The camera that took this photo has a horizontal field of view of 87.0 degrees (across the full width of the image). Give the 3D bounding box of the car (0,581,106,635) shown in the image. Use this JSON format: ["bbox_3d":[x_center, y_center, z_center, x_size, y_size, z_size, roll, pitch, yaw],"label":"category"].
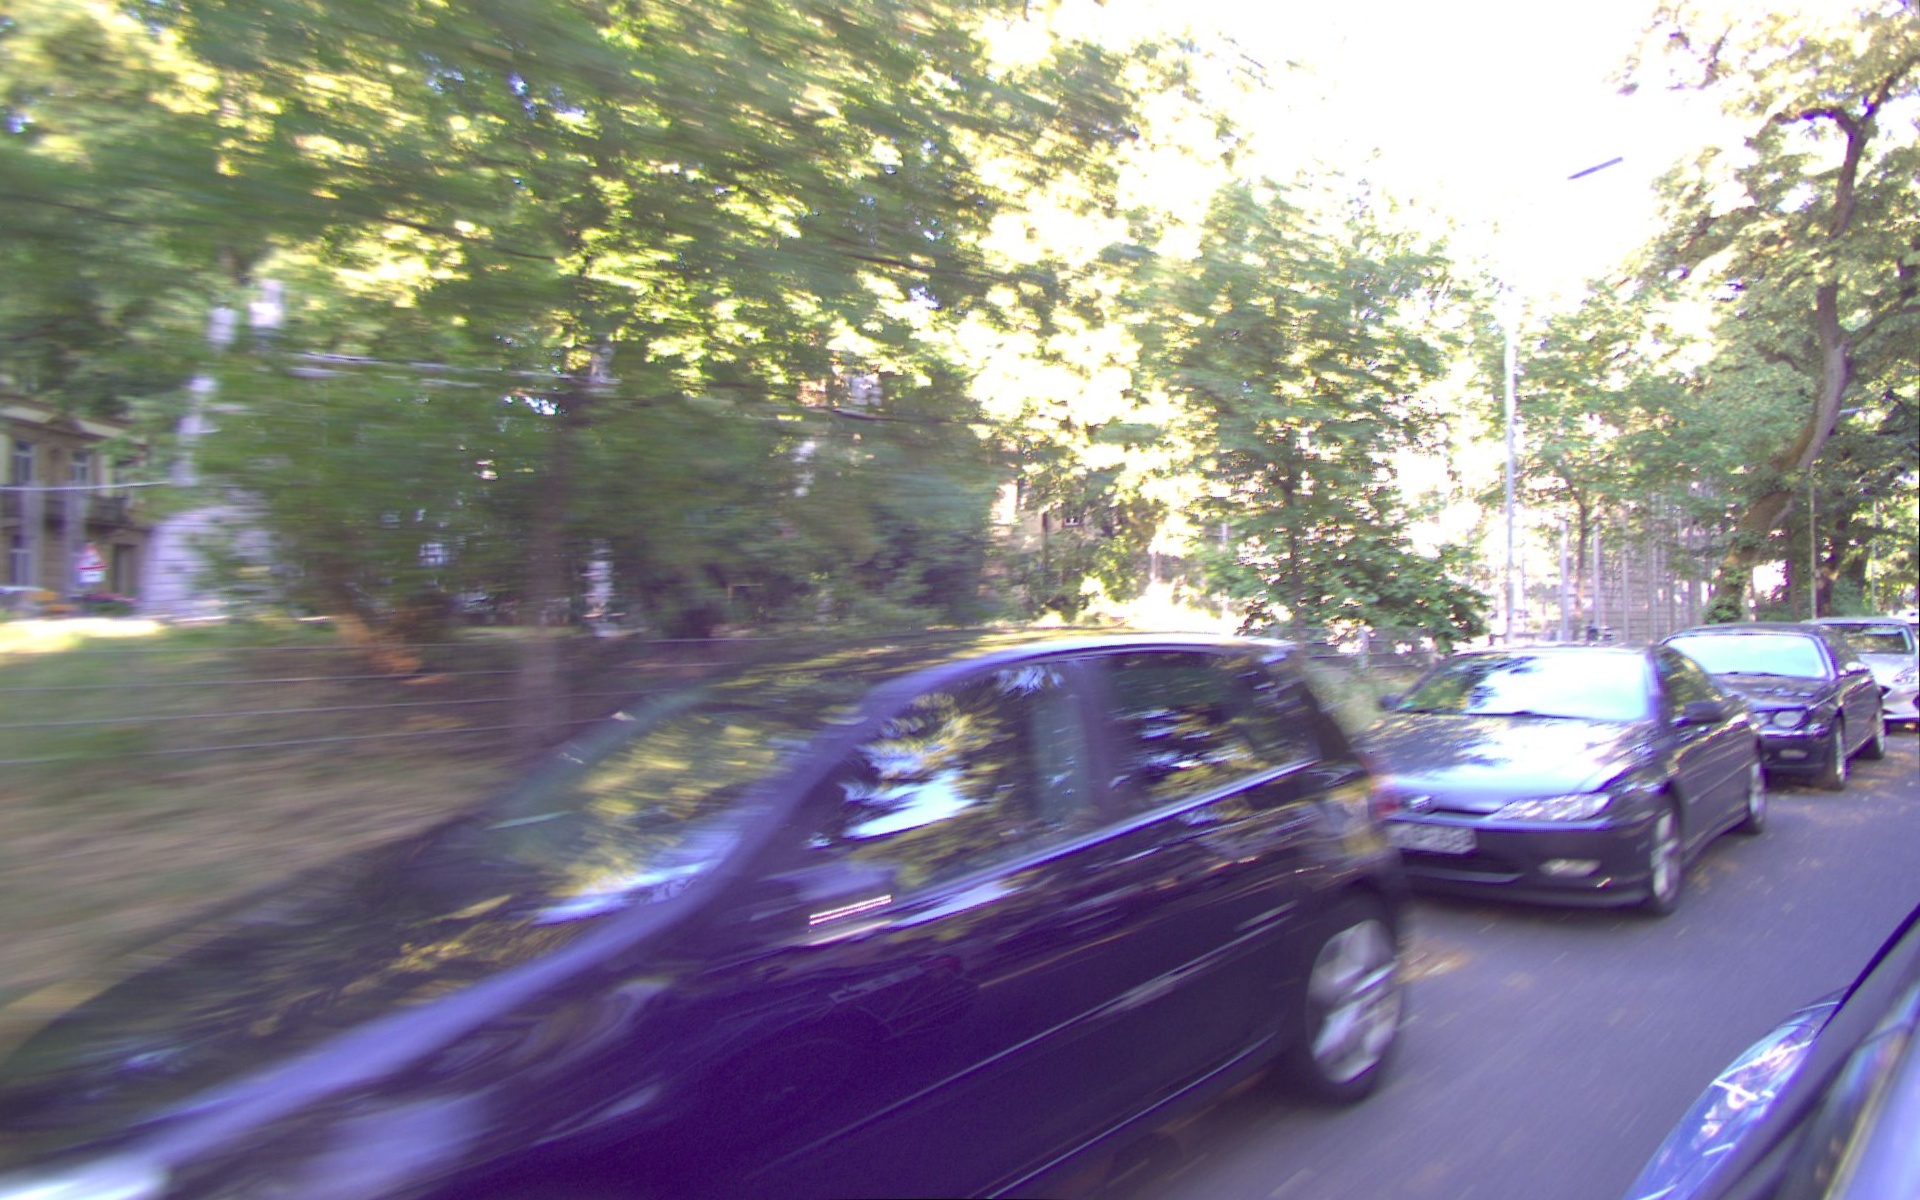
[{"bbox_3d":[-32.312,0.268,35.049,3.928,1.805,1.998,0,0,4],"label":"car"}]

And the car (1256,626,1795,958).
[{"bbox_3d":[3.694,0.839,6.229,4.215,1.299,1.682,0,-1,-43],"label":"car"}]

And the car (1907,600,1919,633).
[{"bbox_3d":[59.078,0.961,61.251,1.961,1.960,5.381,-1,-1,37],"label":"car"}]

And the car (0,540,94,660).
[{"bbox_3d":[-22.539,0.001,22.052,5.407,2.487,2.371,0,0,2],"label":"car"}]

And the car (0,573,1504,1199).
[{"bbox_3d":[-0.116,0.762,3.035,4.212,1.545,1.683,0,-1,-41],"label":"car"}]

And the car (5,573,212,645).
[{"bbox_3d":[-22.384,0.236,26.716,3.928,1.805,1.998,0,0,4],"label":"car"}]

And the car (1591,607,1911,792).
[{"bbox_3d":[7.991,0.794,10.049,4.578,1.442,1.683,0,-1,-41],"label":"car"}]

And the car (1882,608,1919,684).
[{"bbox_3d":[19.918,0.887,20.435,3.494,1.472,1.592,0,-1,-42],"label":"car"}]

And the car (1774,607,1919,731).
[{"bbox_3d":[12.432,0.838,13.840,1.680,1.472,4.011,-1,-1,44],"label":"car"}]

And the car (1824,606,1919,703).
[{"bbox_3d":[15.944,0.843,17.004,4.006,1.472,1.682,0,-1,-42],"label":"car"}]
